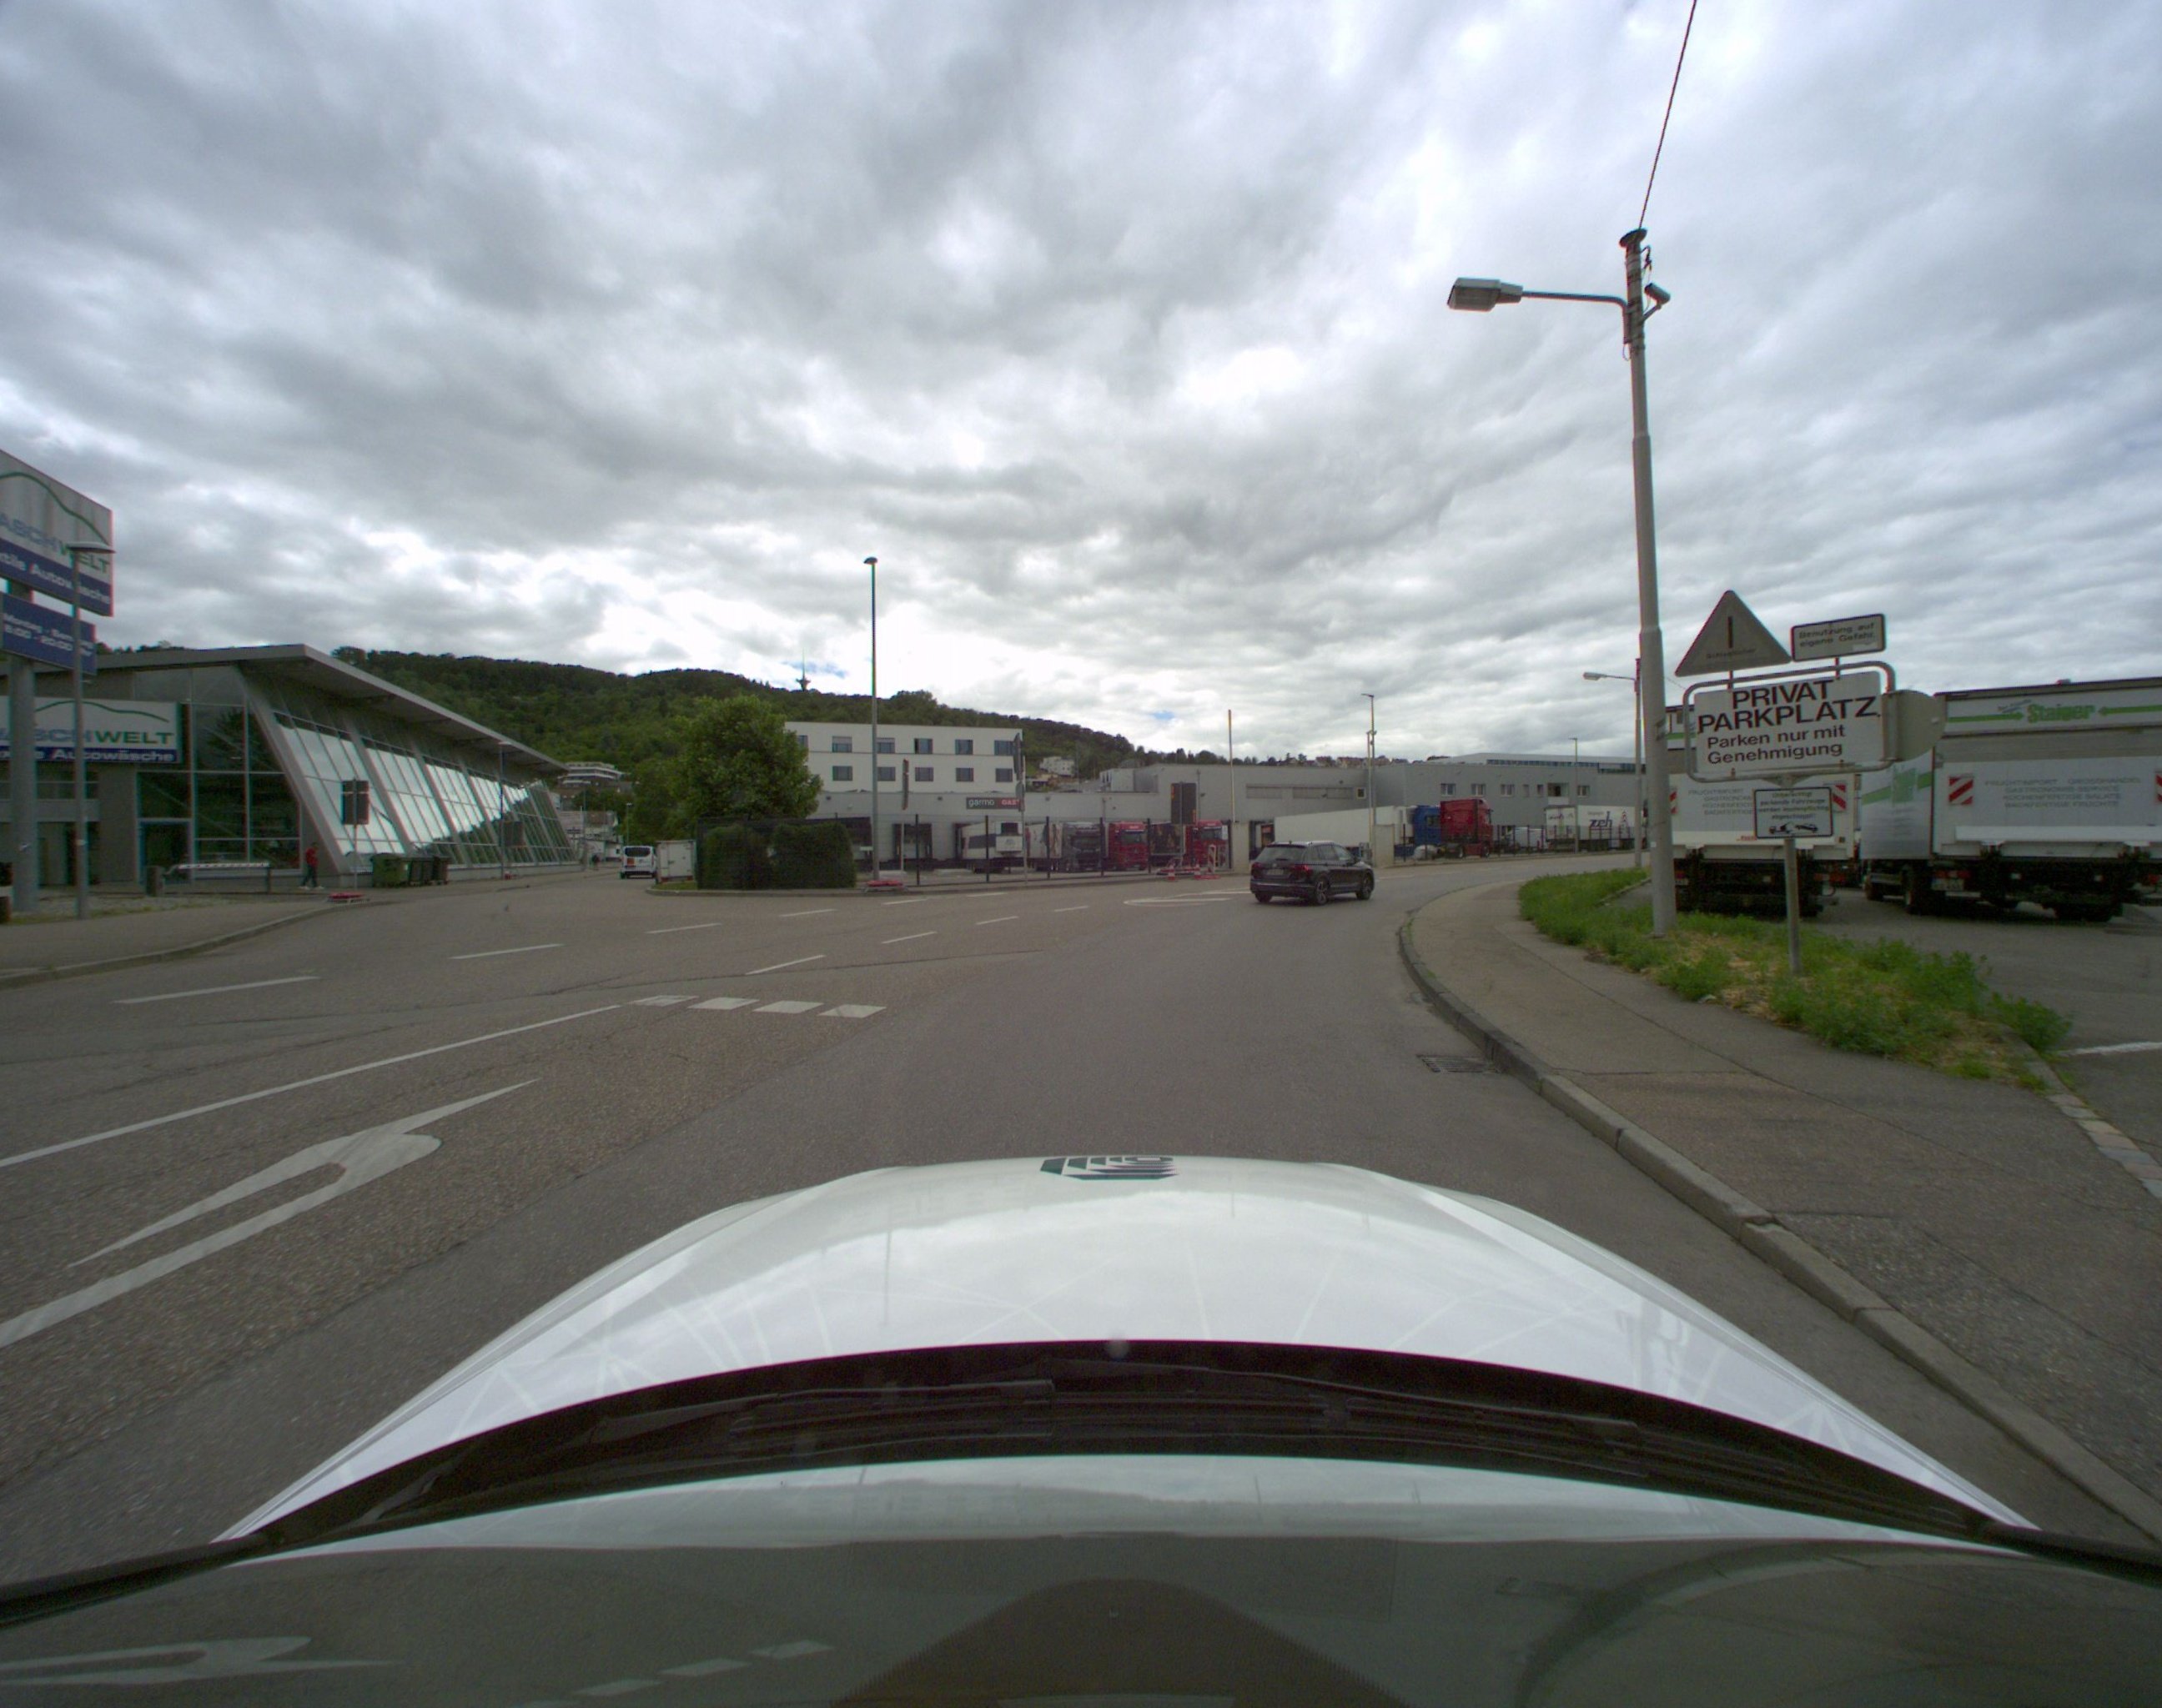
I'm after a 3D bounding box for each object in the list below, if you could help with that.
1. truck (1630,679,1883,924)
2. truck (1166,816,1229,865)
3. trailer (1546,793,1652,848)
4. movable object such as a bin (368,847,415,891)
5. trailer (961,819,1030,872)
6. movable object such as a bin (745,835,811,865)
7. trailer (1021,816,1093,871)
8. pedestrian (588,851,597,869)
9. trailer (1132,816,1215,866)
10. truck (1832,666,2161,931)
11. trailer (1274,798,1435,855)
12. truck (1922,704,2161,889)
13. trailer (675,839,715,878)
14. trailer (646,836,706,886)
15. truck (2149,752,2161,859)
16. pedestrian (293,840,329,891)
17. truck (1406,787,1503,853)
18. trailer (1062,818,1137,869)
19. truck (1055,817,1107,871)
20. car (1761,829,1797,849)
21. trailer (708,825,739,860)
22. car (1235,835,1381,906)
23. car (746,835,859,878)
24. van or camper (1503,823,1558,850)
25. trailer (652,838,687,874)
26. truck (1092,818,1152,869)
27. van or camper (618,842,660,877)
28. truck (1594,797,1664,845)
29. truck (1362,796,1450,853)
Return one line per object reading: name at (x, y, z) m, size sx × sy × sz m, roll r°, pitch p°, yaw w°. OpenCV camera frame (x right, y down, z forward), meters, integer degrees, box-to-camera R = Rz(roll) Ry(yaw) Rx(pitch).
truck at (13.018, -0.847, 16.520) m, size 3.033 × 3.631 × 8.660 m, roll 0°, pitch 1°, yaw 34°
truck at (9.682, -1.126, 68.175) m, size 2.802 × 3.928 × 5.886 m, roll -1°, pitch 0°, yaw -19°
trailer at (46.051, -2.922, 72.078) m, size 14.085 × 4.261 × 3.107 m, roll -2°, pitch -3°, yaw -38°
movable object such as a bin at (-28.256, 0.609, 33.410) m, size 1.146 × 1.757 × 1.052 m, roll -1°, pitch 0°, yaw -20°
trailer at (-7.296, -0.693, 67.593) m, size 3.091 × 4.077 × 11.334 m, roll -1°, pitch 1°, yaw -20°
movable object such as a bin at (-23.569, -0.311, 63.291) m, size 4.609 × 2.226 × 2.063 m, roll -1°, pitch 1°, yaw -26°
trailer at (-2.274, -0.899, 69.714) m, size 2.793 × 4.300 × 11.107 m, roll -1°, pitch 1°, yaw -20°
pedestrian at (-46.868, 0.595, 78.068) m, size 0.631 × 1.673 × 0.752 m, roll -1°, pitch 0°, yaw -26°
trailer at (8.036, -1.117, 72.782) m, size 2.793 × 4.077 × 10.923 m, roll -1°, pitch 1°, yaw -20°
truck at (16.778, -0.866, 15.168) m, size 3.033 × 3.630 × 8.660 m, roll 2°, pitch 2°, yaw 36°
trailer at (22.003, -2.107, 66.933) m, size 3.046 × 4.183 × 13.882 m, roll -1°, pitch 1°, yaw -31°
truck at (28.648, -1.489, 24.392) m, size 3.033 × 4.538 × 9.848 m, roll 0°, pitch 1°, yaw 35°
trailer at (-24.328, 0.239, 51.478) m, size 2.002 × 2.343 × 3.971 m, roll -1°, pitch 1°, yaw -22°
trailer at (-17.448, 0.235, 35.249) m, size 2.002 × 2.013 × 3.971 m, roll -1°, pitch 1°, yaw -22°
truck at (40.158, -1.758, 26.874) m, size 3.033 × 4.001 × 8.087 m, roll 0°, pitch 1°, yaw 30°
pedestrian at (-29.139, 0.425, 30.836) m, size 0.709 × 1.868 × 0.834 m, roll -1°, pitch 1°, yaw 39°
truck at (24.127, -2.120, 52.416) m, size 6.976 × 4.020 × 2.897 m, roll -1°, pitch 1°, yaw -39°
trailer at (1.389, -0.876, 70.986) m, size 2.793 × 4.077 × 10.923 m, roll -1°, pitch 1°, yaw -20°
truck at (-0.046, -0.784, 63.451) m, size 2.802 × 4.039 × 4.138 m, roll -1°, pitch 0°, yaw -20°
car at (64.910, -1.388, 75.741) m, size 4.022 × 1.749 × 1.976 m, roll -3°, pitch 2°, yaw -41°
trailer at (-40.673, -1.325, 92.816) m, size 3.081 × 3.759 × 4.898 m, roll -1°, pitch 1°, yaw -22°
car at (6.176, 0.357, 21.822) m, size 1.975 × 1.683 × 4.398 m, roll 1°, pitch 2°, yaw 43°
car at (-11.686, 0.067, 34.159) m, size 4.256 × 1.670 × 2.056 m, roll -1°, pitch 1°, yaw -26°
van or camper at (47.804, -1.796, 86.683) m, size 2.105 × 2.762 × 4.953 m, roll -1°, pitch 1°, yaw -21°
trailer at (-35.410, 0.126, 70.176) m, size 2.288 × 2.953 × 3.971 m, roll -1°, pitch 1°, yaw -22°
truck at (3.236, -0.862, 65.862) m, size 2.802 × 3.928 × 5.886 m, roll -1°, pitch 0°, yaw -19°
van or camper at (-28.016, 0.313, 51.708) m, size 2.110 × 2.083 × 4.169 m, roll -2°, pitch 0°, yaw -26°
truck at (51.259, -3.026, 76.093) m, size 6.974 × 4.117 × 3.102 m, roll -1°, pitch -3°, yaw -37°
truck at (24.368, -2.148, 61.131) m, size 5.542 × 4.020 × 2.950 m, roll 0°, pitch 1°, yaw 36°
